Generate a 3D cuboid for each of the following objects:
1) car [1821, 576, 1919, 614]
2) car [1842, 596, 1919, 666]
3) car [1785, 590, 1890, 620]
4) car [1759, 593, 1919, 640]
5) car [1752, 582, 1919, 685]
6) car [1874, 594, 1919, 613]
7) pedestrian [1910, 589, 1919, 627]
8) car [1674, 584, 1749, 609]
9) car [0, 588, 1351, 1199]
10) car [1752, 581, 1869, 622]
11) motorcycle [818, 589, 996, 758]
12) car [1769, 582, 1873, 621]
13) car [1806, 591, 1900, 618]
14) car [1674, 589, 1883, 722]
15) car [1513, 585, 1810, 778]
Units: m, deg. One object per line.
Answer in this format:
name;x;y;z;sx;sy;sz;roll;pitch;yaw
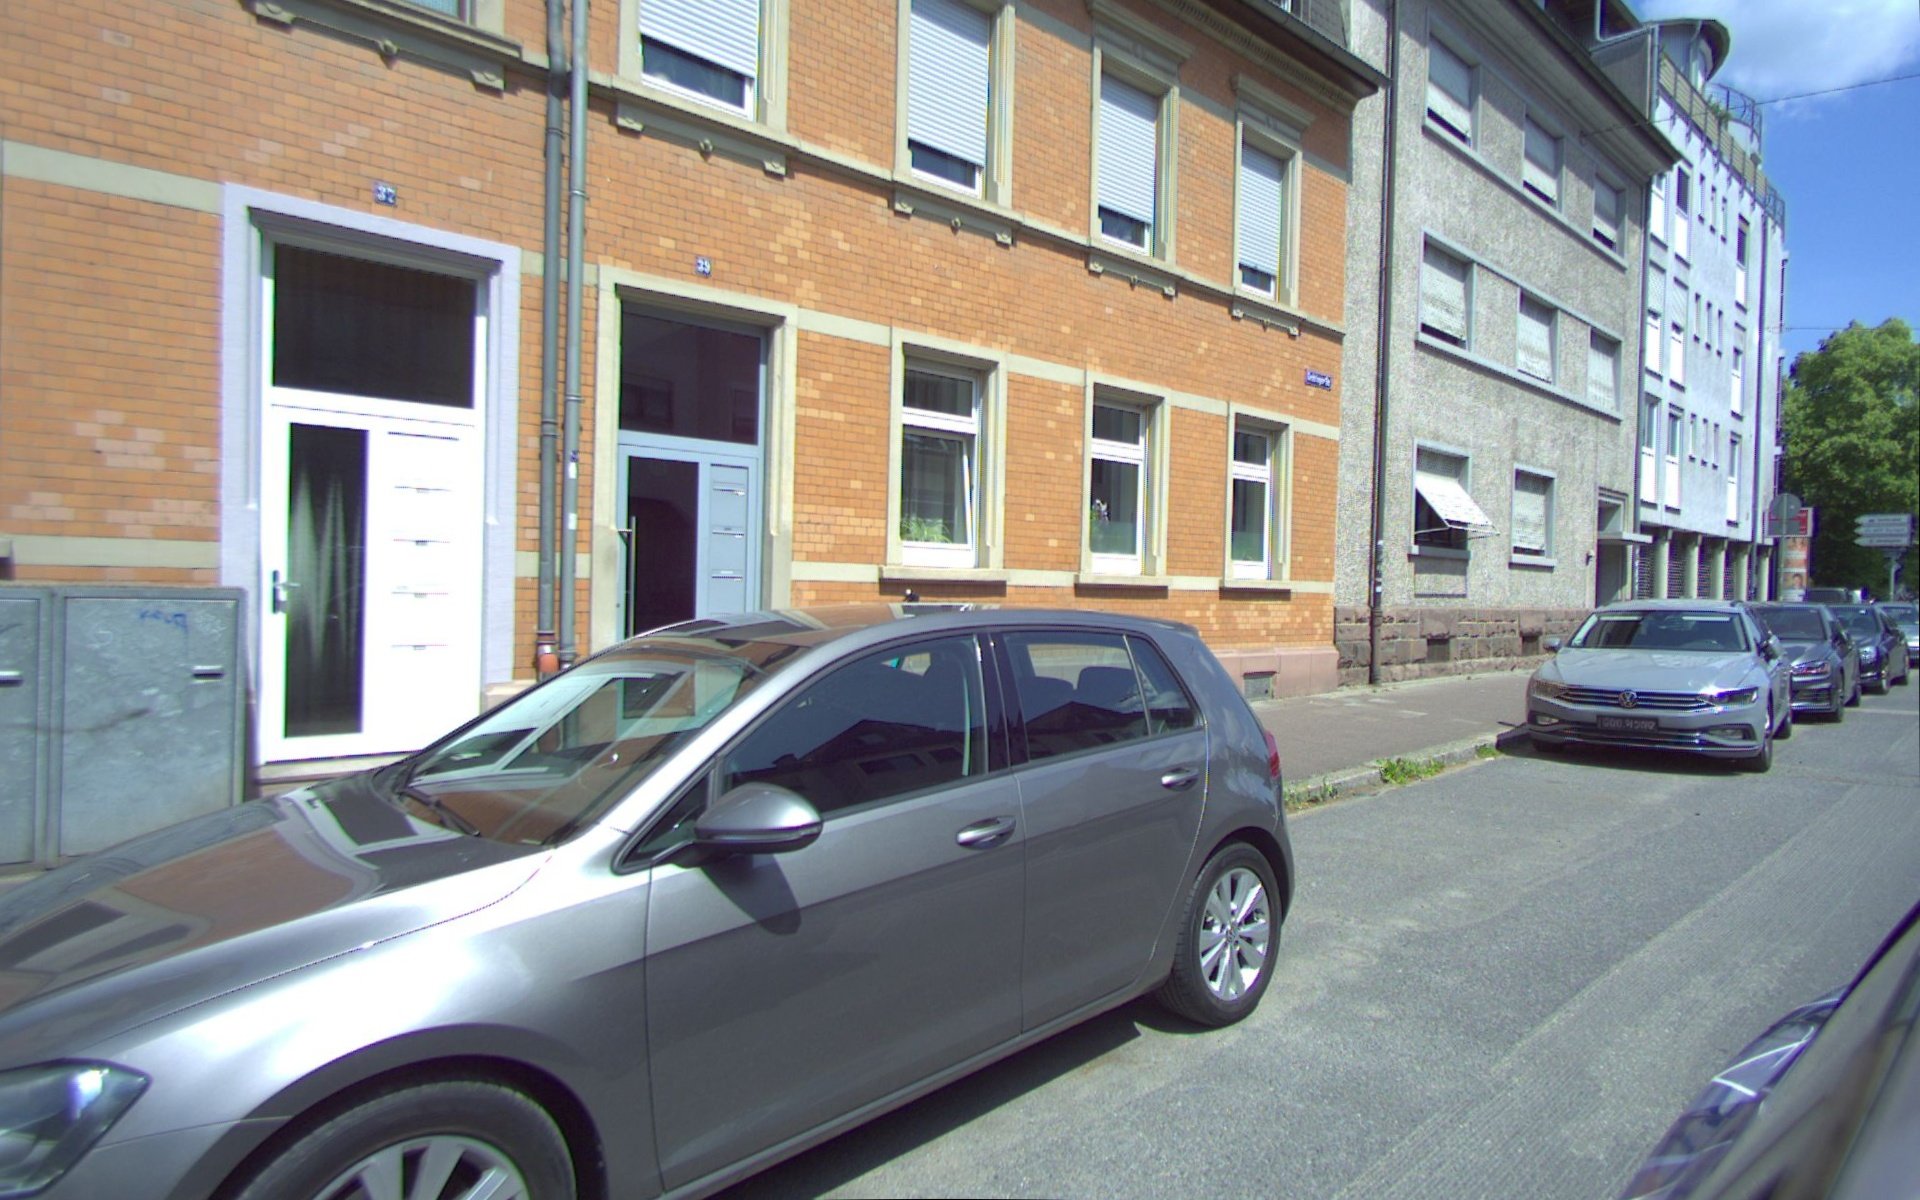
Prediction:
car;57.476;-0.309;63.830;2.069;2.305;4.610;0;0;-41
car;21.652;0.665;23.290;4.074;1.472;1.679;0;1;-44
car;45.689;0.251;52.742;1.778;1.415;3.991;0;2;-43
car;29.842;0.526;33.920;1.967;1.382;4.586;0;2;-43
car;15.120;0.489;17.249;4.360;1.491;1.715;0;2;-41
car;70.622;0.260;75.247;3.832;1.375;1.606;2;2;40
pedestrian;46.374;0.381;48.886;0.725;1.786;0.618;0;1;-42
car;53.585;-0.280;72.219;1.772;1.491;3.997;0;4;-40
car;-0.599;0.684;3.121;4.095;1.398;1.703;-1;2;-42
car;40.100;0.037;47.746;1.982;1.772;3.993;0;2;-42
motorcycle;-0.415;0.542;8.211;1.337;1.240;0.597;0;2;-40
car;42.041;0.046;49.459;3.765;1.687;1.637;4;3;44
car;52.977;0.248;60.121;1.687;1.491;3.995;0;1;-40
car;10.877;0.607;13.351;3.982;1.437;1.653;0;2;-44
car;7.238;0.608;10.231;1.853;1.481;4.480;2;2;43
